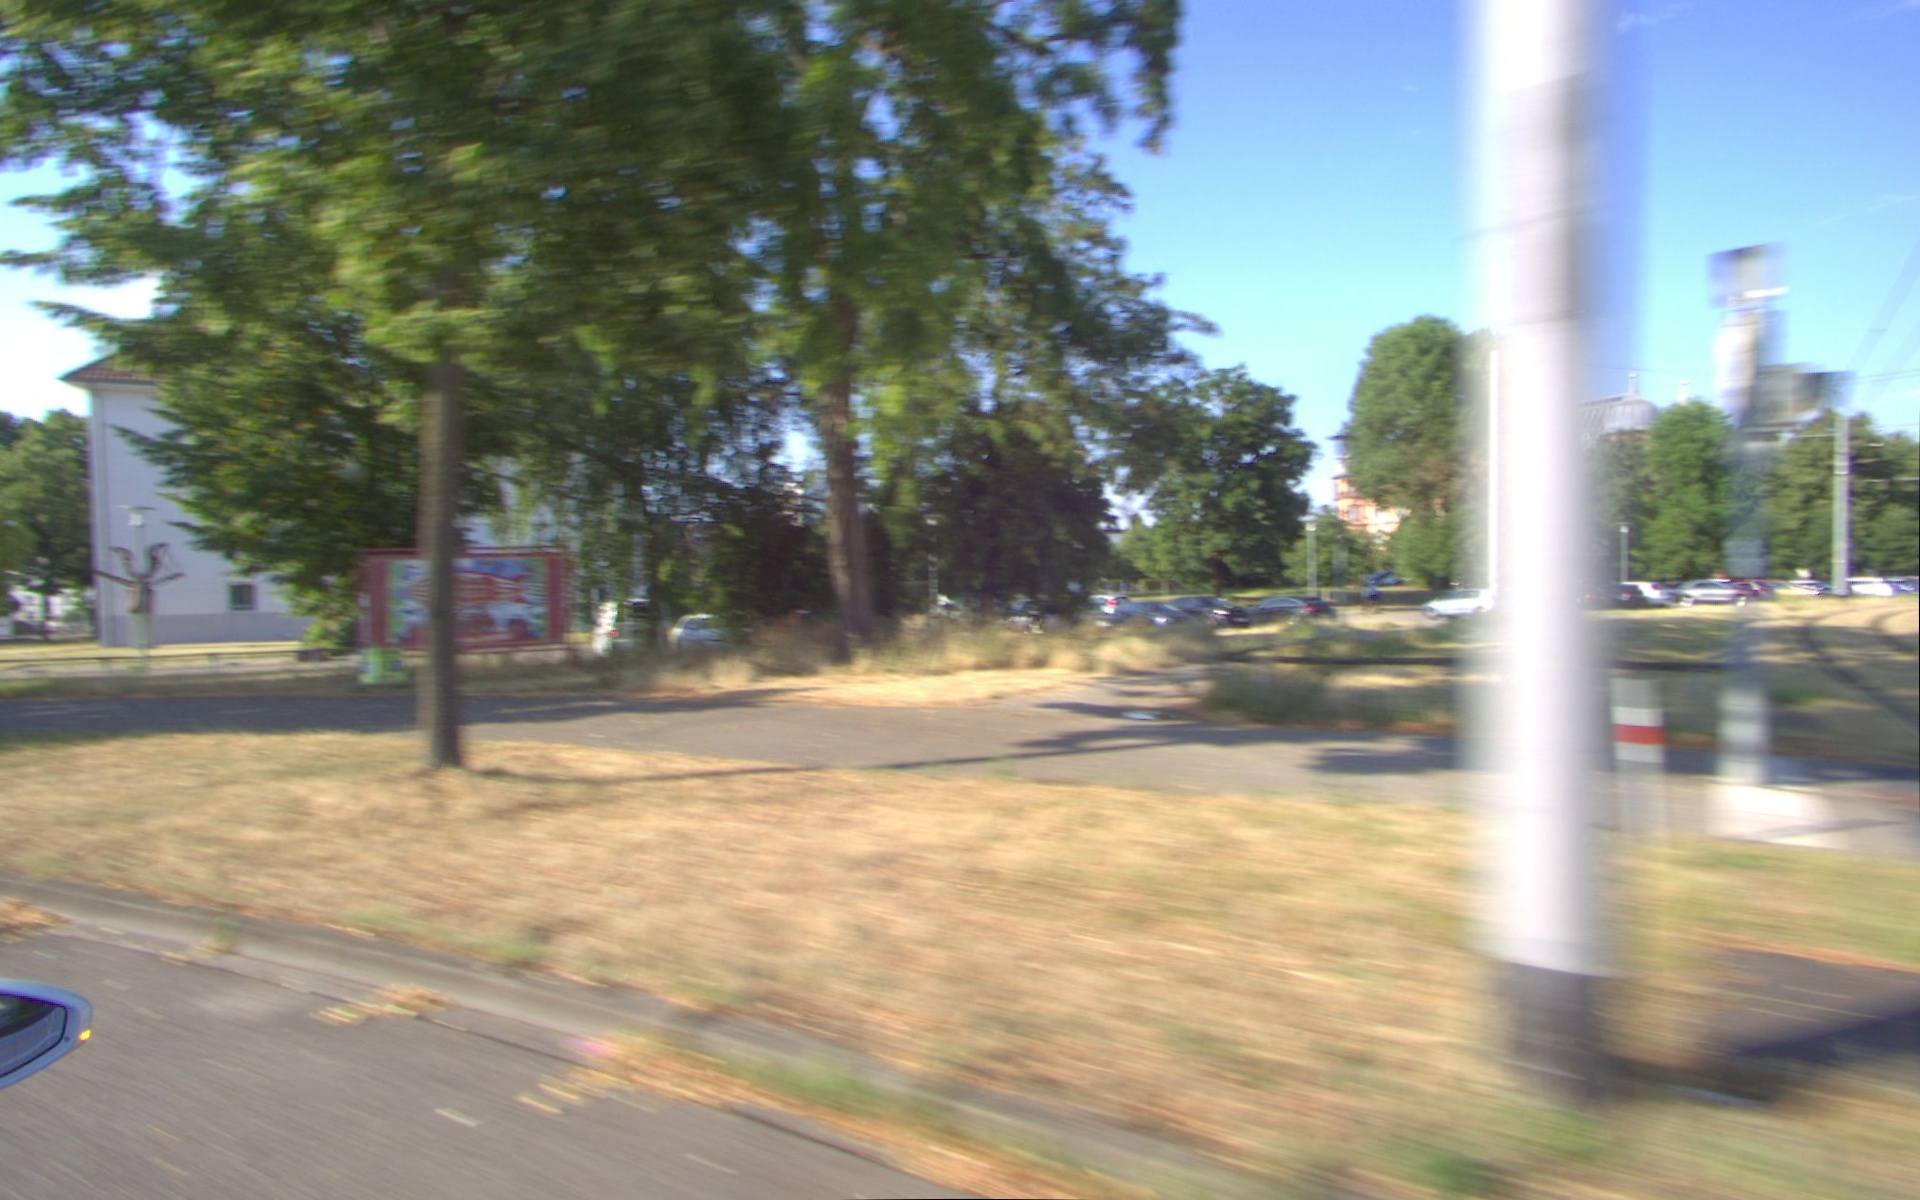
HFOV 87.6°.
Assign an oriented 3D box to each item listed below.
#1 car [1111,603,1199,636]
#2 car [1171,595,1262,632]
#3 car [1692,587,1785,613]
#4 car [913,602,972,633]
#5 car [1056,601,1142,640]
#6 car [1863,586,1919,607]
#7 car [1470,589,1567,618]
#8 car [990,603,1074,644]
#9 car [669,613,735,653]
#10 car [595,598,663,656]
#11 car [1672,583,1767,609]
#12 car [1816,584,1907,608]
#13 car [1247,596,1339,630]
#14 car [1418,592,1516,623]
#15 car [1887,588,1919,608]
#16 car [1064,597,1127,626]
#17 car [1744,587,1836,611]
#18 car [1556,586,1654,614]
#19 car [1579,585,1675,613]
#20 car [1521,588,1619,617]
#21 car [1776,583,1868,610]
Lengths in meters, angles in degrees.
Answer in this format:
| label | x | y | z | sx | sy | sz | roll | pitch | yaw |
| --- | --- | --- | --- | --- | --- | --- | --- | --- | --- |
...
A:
| label | x | y | z | sx | sy | sz | roll | pitch | yaw |
| --- | --- | --- | --- | --- | --- | --- | --- | --- | --- |
| car | 7.751 | 0.760 | 40.160 | 1.579 | 1.237 | 3.957 | -1 | 0 | -21 |
| car | 10.374 | 0.538 | 40.841 | 1.579 | 1.420 | 3.957 | -1 | 0 | -21 |
| car | 45.834 | 0.019 | 59.044 | 1.799 | 1.421 | 3.984 | -1 | 0 | -26 |
| car | -0.913 | 0.842 | 48.838 | 1.579 | 1.420 | 3.957 | -1 | 0 | -21 |
| car | 5.322 | 0.774 | 38.845 | 1.579 | 1.420 | 3.957 | -1 | 0 | -21 |
| car | 64.802 | -0.239 | 68.638 | 1.799 | 1.421 | 3.984 | -1 | 0 | -26 |
| car | 28.409 | 0.192 | 51.057 | 1.799 | 1.421 | 3.984 | -1 | 0 | -26 |
| car | 2.662 | 0.850 | 37.809 | 1.579 | 1.420 | 3.957 | -1 | 0 | -21 |
| car | -8.418 | 1.027 | 32.437 | 1.579 | 1.196 | 3.957 | -1 | 0 | -21 |
| car | -10.221 | 0.798 | 30.768 | 1.747 | 1.639 | 3.957 | -1 | 0 | -21 |
| car | 43.767 | -0.218 | 57.792 | 1.799 | 1.421 | 3.984 | -1 | 0 | -26 |
| car | 57.898 | -0.251 | 64.402 | 1.799 | 1.421 | 3.984 | -1 | 0 | -26 |
| car | 14.122 | 0.553 | 42.701 | 1.579 | 1.327 | 3.957 | -1 | 0 | -21 |
| car | 24.535 | 0.377 | 48.586 | 1.799 | 1.421 | 3.984 | -1 | 0 | -26 |
| car | 67.564 | -0.149 | 69.761 | 1.799 | 1.421 | 3.984 | -1 | 0 | -26 |
| car | 7.192 | 0.612 | 53.574 | 1.579 | 1.420 | 3.957 | -1 | 0 | -21 |
| car | 50.782 | -0.052 | 61.350 | 1.799 | 1.421 | 3.984 | -1 | 0 | -26 |
| car | 33.851 | 0.026 | 52.670 | 1.799 | 1.421 | 3.984 | -1 | 0 | -26 |
| car | 36.076 | -0.020 | 54.278 | 1.799 | 1.421 | 3.984 | -1 | 0 | -26 |
| car | 31.364 | 0.134 | 51.622 | 1.799 | 1.421 | 3.984 | -1 | 0 | -26 |
| car | 53.478 | -0.220 | 62.193 | 1.799 | 1.589 | 3.984 | -1 | 0 | -26 |
